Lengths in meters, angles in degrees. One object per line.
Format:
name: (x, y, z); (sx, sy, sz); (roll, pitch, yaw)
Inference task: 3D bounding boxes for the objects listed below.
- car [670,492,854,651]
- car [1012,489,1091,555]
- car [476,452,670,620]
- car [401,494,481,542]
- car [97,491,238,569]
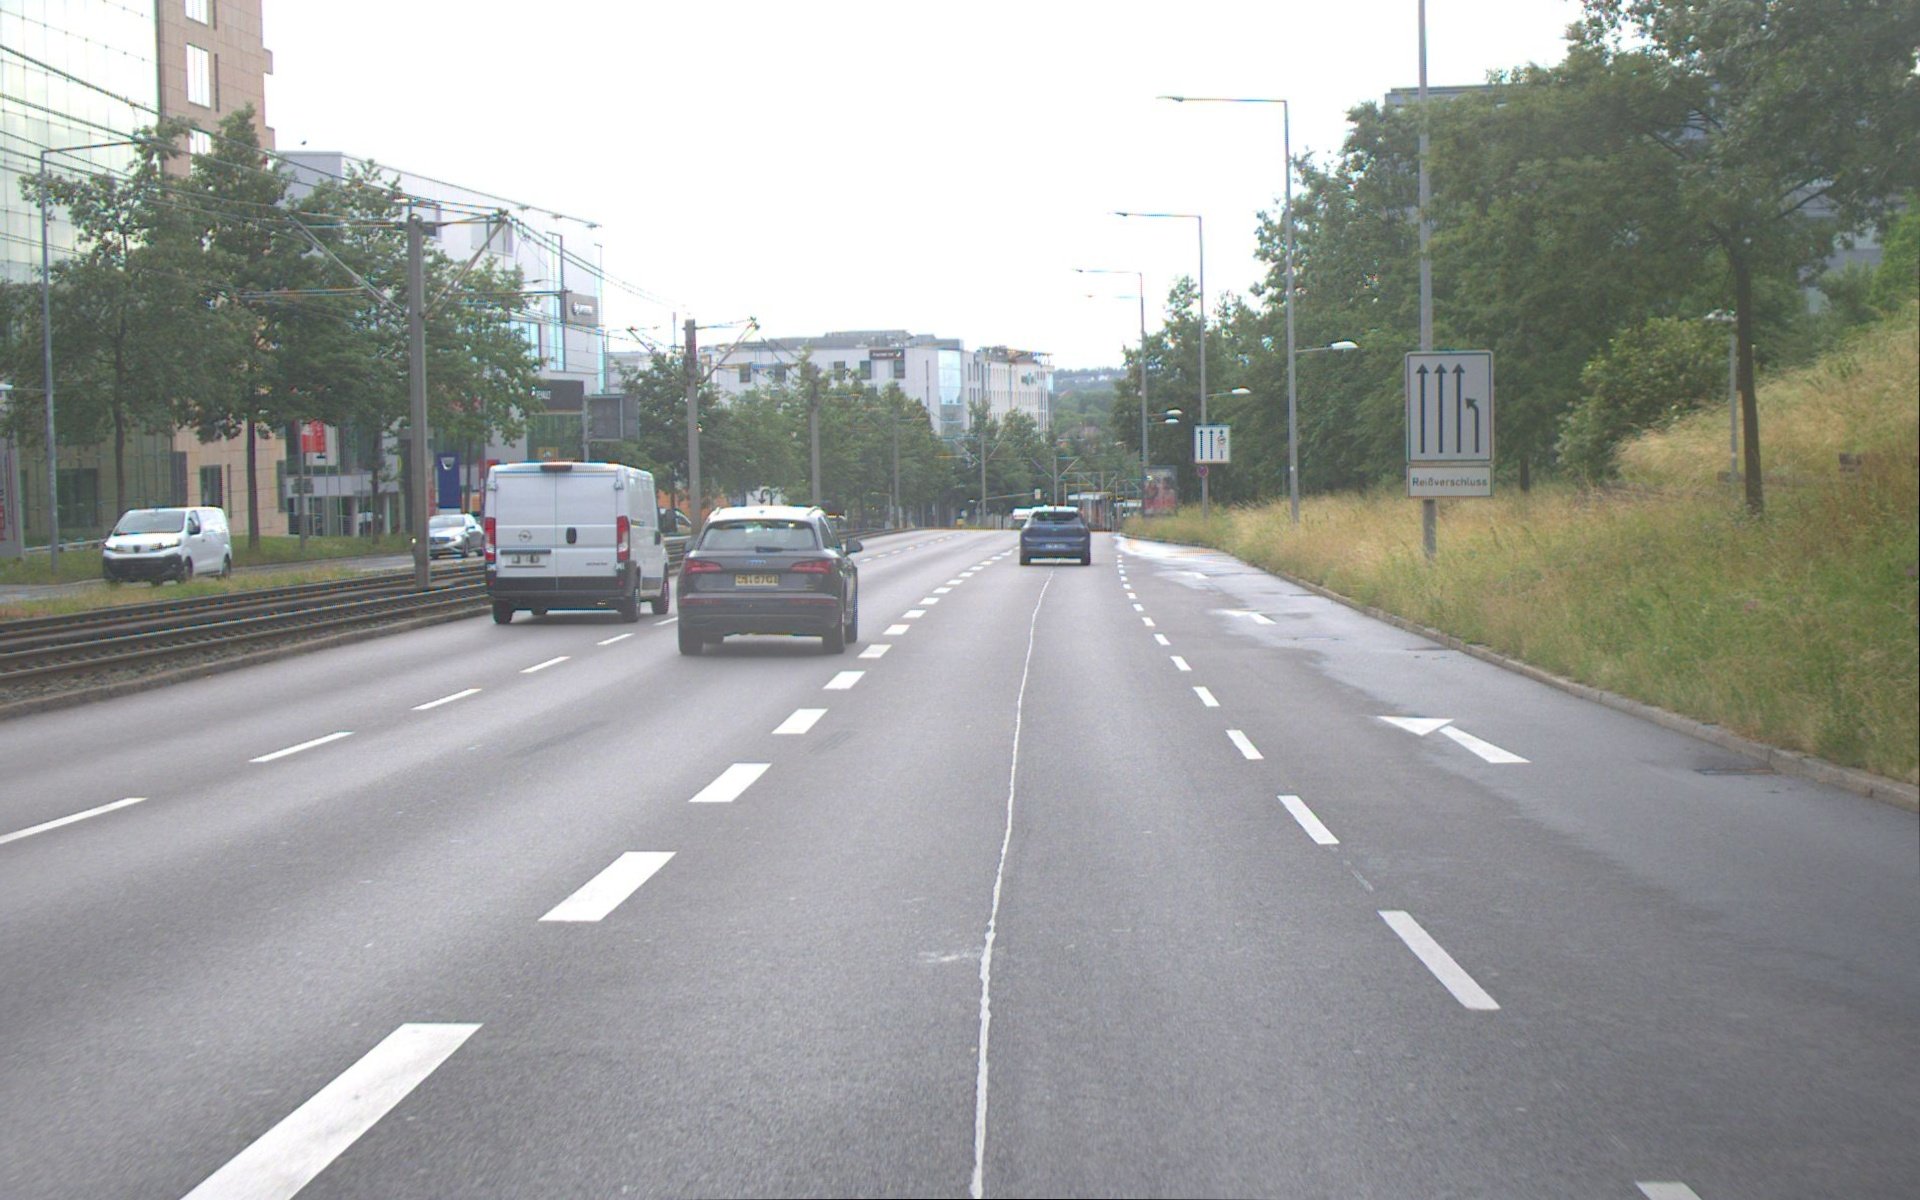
car: (-2.216, -0.321, 39.438); (1.922, 1.705, 4.098); (1, 0, -1)
car: (2.264, -1.953, 86.121); (1.789, 1.585, 4.000); (-2, 1, -1)
car: (-5.494, -0.955, 49.380); (2.268, 2.277, 4.760); (1, 2, 0)
car: (-17.106, -2.717, 113.542); (1.760, 1.528, 4.817); (1, 2, 2)
car: (-18.568, -1.678, 80.764); (1.938, 1.755, 5.062); (1, 2, 2)
